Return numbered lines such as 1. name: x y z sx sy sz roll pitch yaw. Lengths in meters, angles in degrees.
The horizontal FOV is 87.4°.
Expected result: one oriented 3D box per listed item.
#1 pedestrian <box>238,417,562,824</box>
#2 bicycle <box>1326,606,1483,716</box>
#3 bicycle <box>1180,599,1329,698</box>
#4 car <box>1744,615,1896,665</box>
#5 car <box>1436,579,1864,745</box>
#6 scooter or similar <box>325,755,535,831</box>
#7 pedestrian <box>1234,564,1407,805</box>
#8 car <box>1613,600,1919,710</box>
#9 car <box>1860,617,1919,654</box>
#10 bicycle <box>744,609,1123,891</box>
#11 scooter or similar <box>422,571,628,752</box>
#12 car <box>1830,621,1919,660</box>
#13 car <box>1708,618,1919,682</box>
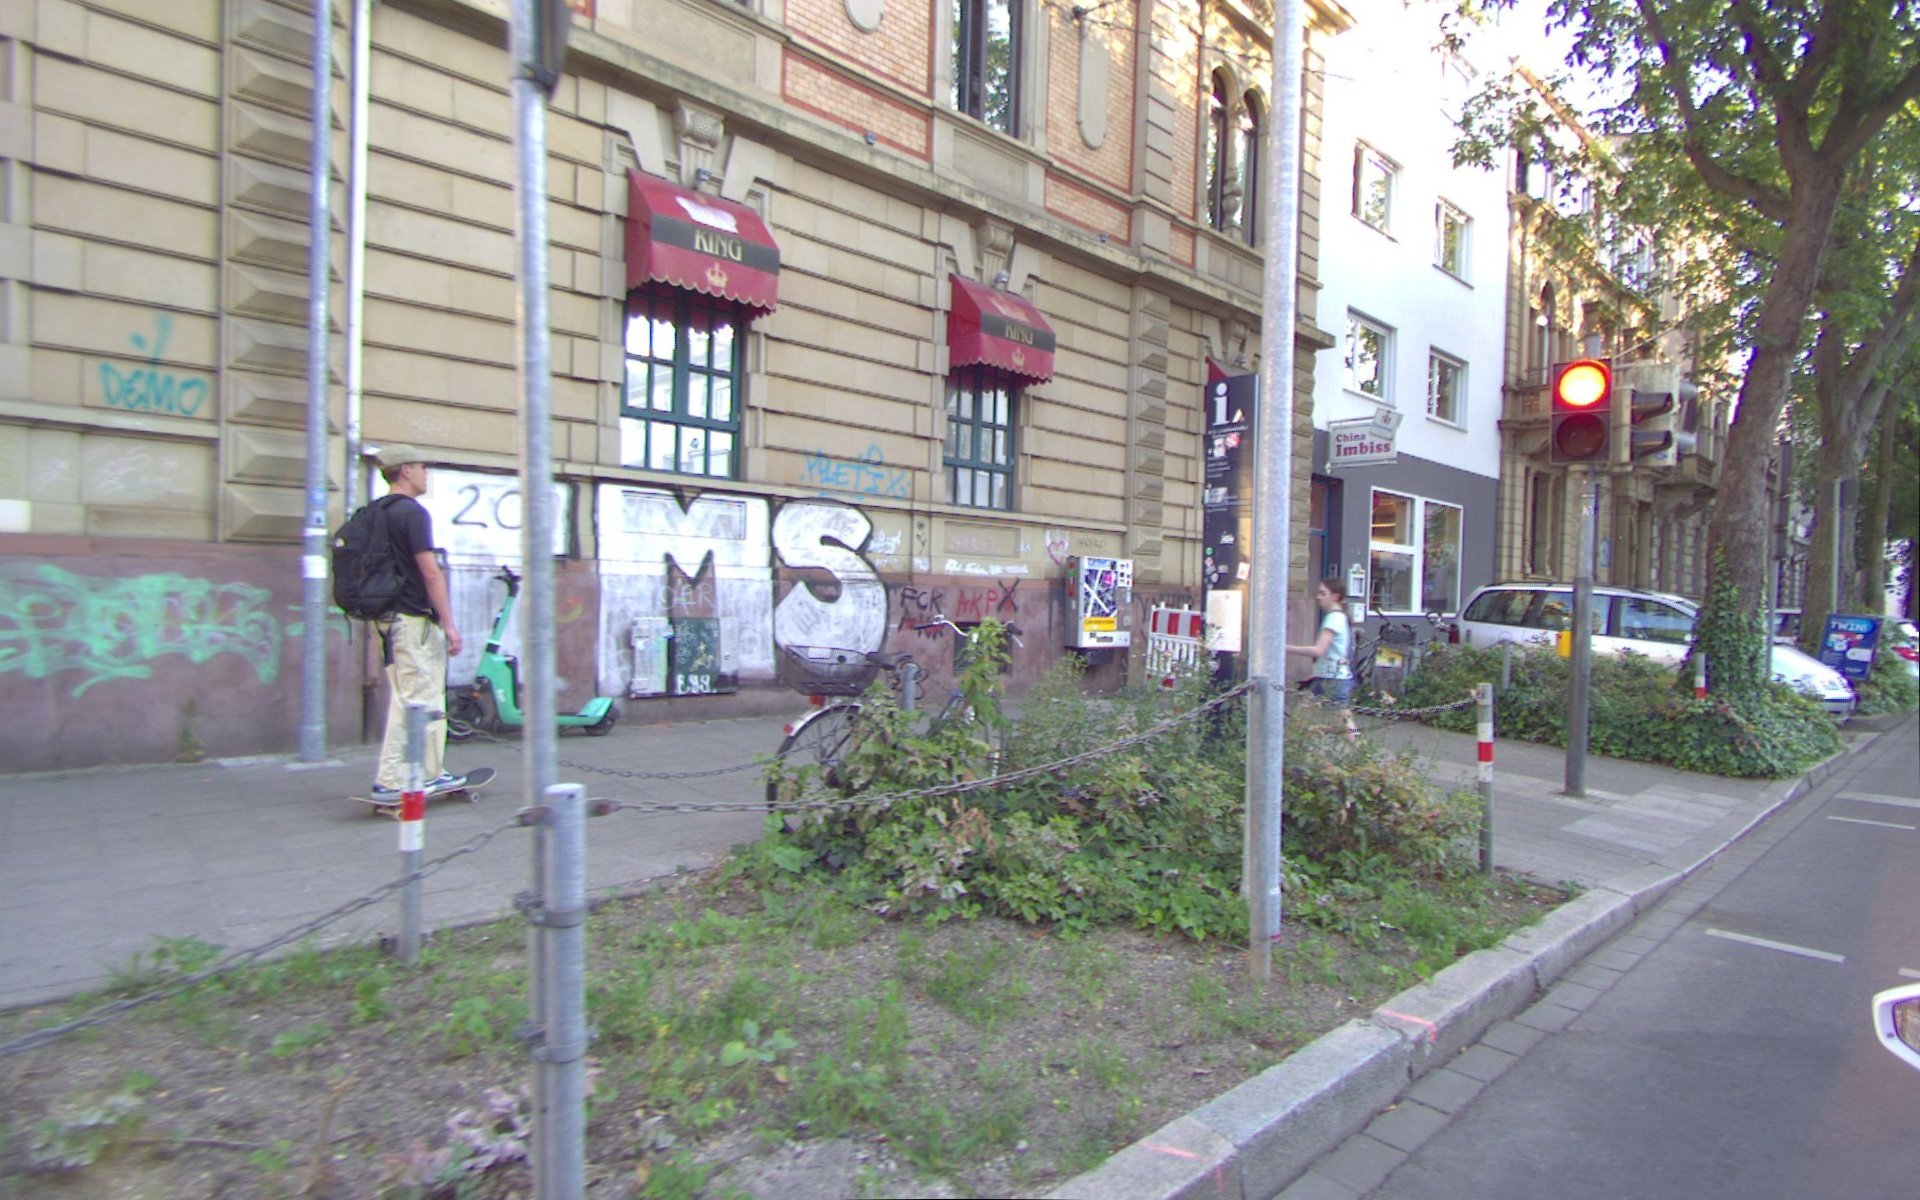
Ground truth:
1. pedestrian: -2.817 0.080 5.082 1.258 1.762 0.840 0 3 -43
2. bicycle: 5.572 0.714 12.488 2.614 1.202 0.728 1 2 -42
3. bicycle: 4.003 0.621 13.514 2.543 1.218 0.631 1 0 -41
4. car: 31.336 1.399 36.674 1.819 1.611 4.003 1 0 -41
5. car: 9.155 0.686 13.628 1.821 1.859 4.502 1 0 -44
6. scooter or similar: -2.712 0.975 5.171 0.876 0.210 0.413 2 3 -43
7. pedestrian: 2.618 0.560 7.294 0.963 1.578 0.699 5 2 31
8. car: 14.884 0.913 18.458 1.819 1.711 4.507 1 0 -41
9. car: 47.283 1.780 49.234 1.819 1.714 4.507 1 1 -41
10. bicycle: -0.041 0.649 5.134 2.086 1.169 0.505 1 3 -43
11. scooter or similar: -3.061 0.417 7.094 1.272 1.183 0.436 2 2 -30
12. car: 38.526 1.662 40.865 1.819 1.428 4.507 1 0 -41
13. car: 22.118 1.221 25.694 1.819 1.390 4.507 1 0 -41
